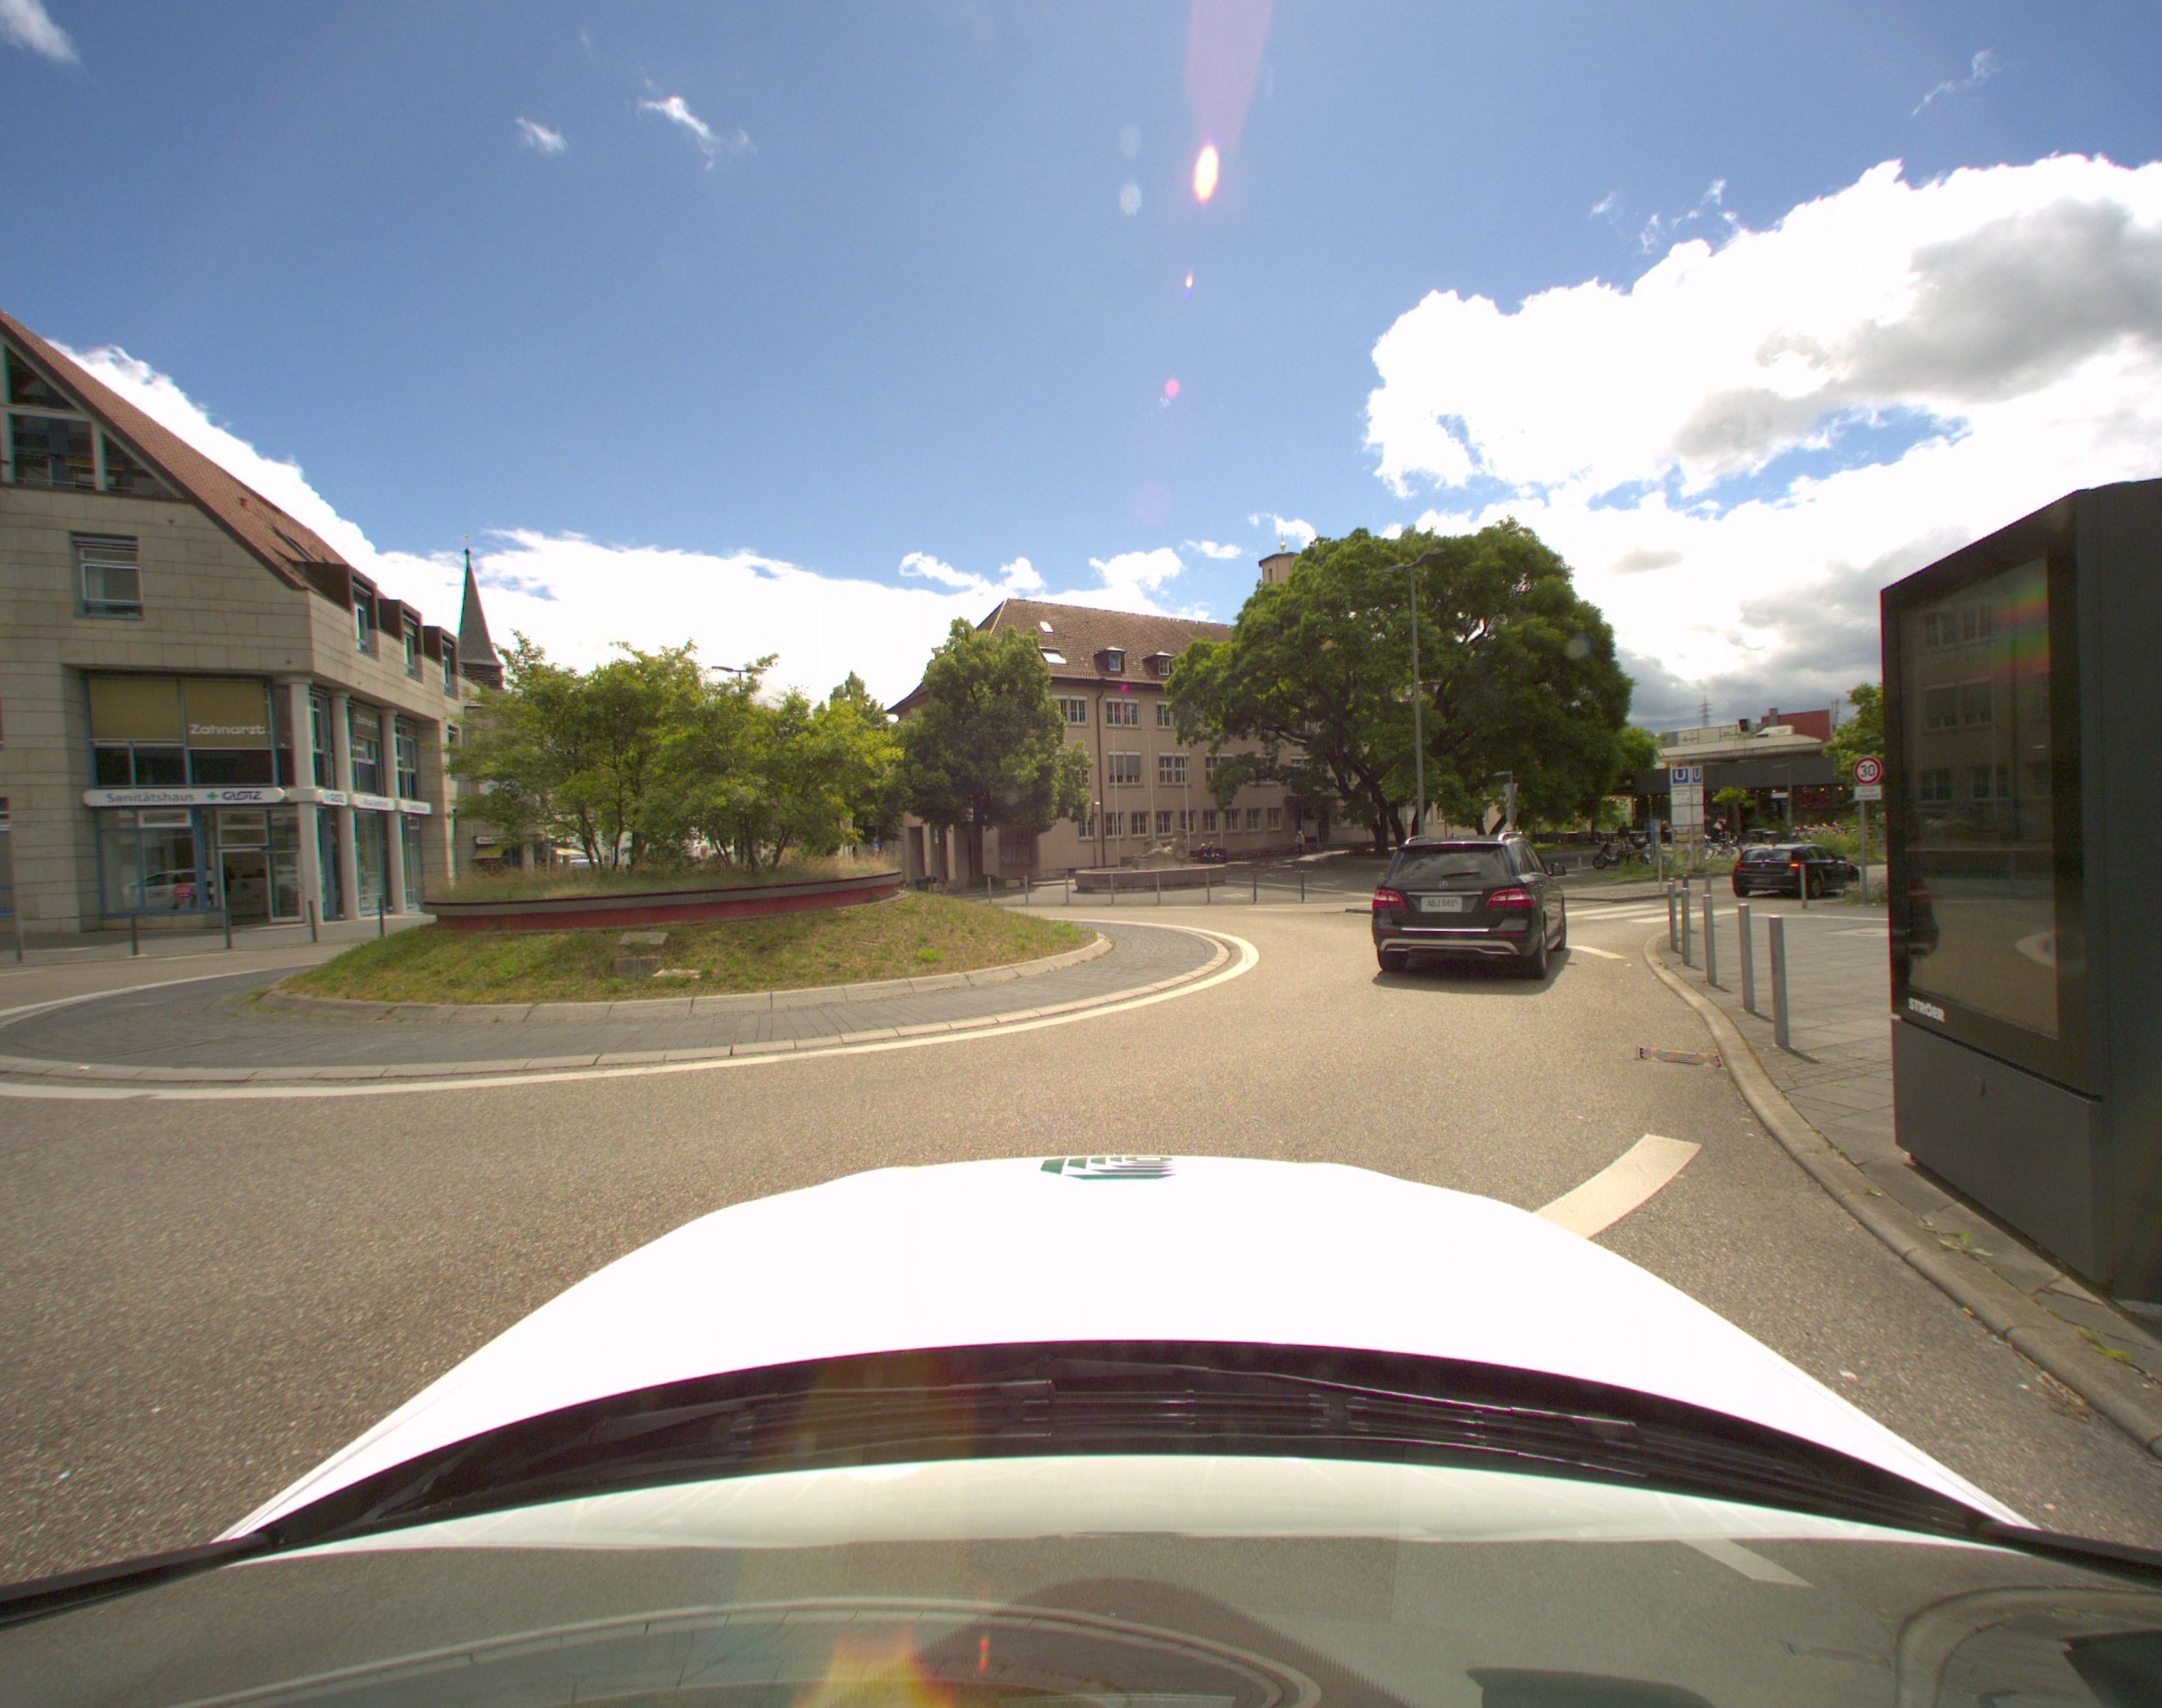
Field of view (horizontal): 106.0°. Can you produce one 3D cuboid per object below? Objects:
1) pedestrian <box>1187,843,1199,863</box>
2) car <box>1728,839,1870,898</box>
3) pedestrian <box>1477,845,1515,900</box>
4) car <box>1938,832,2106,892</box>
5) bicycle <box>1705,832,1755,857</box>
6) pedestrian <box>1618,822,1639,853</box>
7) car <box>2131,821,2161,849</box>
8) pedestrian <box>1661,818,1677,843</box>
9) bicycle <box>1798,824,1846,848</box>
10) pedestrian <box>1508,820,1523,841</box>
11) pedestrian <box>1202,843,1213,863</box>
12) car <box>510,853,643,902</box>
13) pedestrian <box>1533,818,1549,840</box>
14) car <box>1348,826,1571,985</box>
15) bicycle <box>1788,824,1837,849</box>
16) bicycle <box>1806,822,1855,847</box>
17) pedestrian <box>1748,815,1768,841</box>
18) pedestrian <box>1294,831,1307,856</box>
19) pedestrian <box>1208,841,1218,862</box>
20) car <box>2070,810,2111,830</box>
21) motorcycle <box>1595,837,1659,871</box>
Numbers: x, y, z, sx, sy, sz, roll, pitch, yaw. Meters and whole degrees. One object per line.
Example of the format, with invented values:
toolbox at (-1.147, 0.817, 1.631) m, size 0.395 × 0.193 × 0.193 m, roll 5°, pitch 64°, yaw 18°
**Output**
pedestrian at (6.638, -0.043, 48.120) m, size 0.482 × 1.162 × 0.584 m, roll -1°, pitch 0°, yaw 29°
car at (19.362, 0.349, 21.934) m, size 3.846 × 1.383 × 1.599 m, roll -2°, pitch 0°, yaw -28°
pedestrian at (11.930, 0.509, 23.405) m, size 0.551 × 1.514 × 0.784 m, roll -3°, pitch 2°, yaw -14°
car at (25.141, 0.189, 21.745) m, size 4.383 × 1.406 × 1.846 m, roll -2°, pitch -1°, yaw -26°
bicycle at (27.377, -0.383, 34.394) m, size 0.500 × 0.997 × 1.605 m, roll -2°, pitch 0°, yaw -20°
pedestrian at (27.927, -0.828, 41.523) m, size 0.616 × 1.577 × 0.579 m, roll -2°, pitch 0°, yaw -20°
car at (55.755, -1.010, 41.864) m, size 3.847 × 1.383 × 1.598 m, roll -2°, pitch 0°, yaw -30°
pedestrian at (34.046, -1.355, 47.160) m, size 0.619 × 1.379 × 0.576 m, roll -2°, pitch 0°, yaw -39°
bicycle at (34.303, -0.810, 37.718) m, size 0.540 × 1.069 × 1.559 m, roll -2°, pitch 0°, yaw -26°
pedestrian at (33.947, -1.843, 63.597) m, size 0.790 × 1.577 × 0.631 m, roll -2°, pitch 0°, yaw -27°
pedestrian at (7.391, -0.052, 47.633) m, size 0.482 × 1.182 × 0.584 m, roll -1°, pitch 0°, yaw 20°
car at (-29.059, 1.336, 47.035) m, size 6.334 × 2.560 × 2.181 m, roll 0°, pitch -4°, yaw -37°
pedestrian at (34.880, -1.886, 61.724) m, size 0.638 × 1.627 × 0.781 m, roll -2°, pitch 0°, yaw -28°
car at (5.395, 0.551, 11.231) m, size 2.007 × 1.727 × 4.462 m, roll -3°, pitch 0°, yaw 35°
bicycle at (33.591, -0.791, 37.417) m, size 0.579 × 1.091 × 1.559 m, roll -2°, pitch 0°, yaw -26°
bicycle at (35.012, -0.906, 38.057) m, size 0.579 × 1.091 × 1.559 m, roll -2°, pitch 0°, yaw -26°
pedestrian at (38.322, -1.479, 46.098) m, size 0.616 × 1.463 × 0.579 m, roll -2°, pitch 0°, yaw -19°
pedestrian at (13.478, -0.622, 50.009) m, size 0.692 × 1.492 × 0.819 m, roll -1°, pitch 0°, yaw 19°
pedestrian at (7.815, -0.124, 48.209) m, size 0.482 × 1.222 × 0.584 m, roll -1°, pitch 0°, yaw 20°
car at (87.018, -2.947, 70.228) m, size 4.023 × 1.607 × 1.824 m, roll -3°, pitch 4°, yaw -44°
motorcycle at (21.632, -0.013, 32.316) m, size 0.584 × 1.289 × 2.122 m, roll -4°, pitch 3°, yaw -24°
